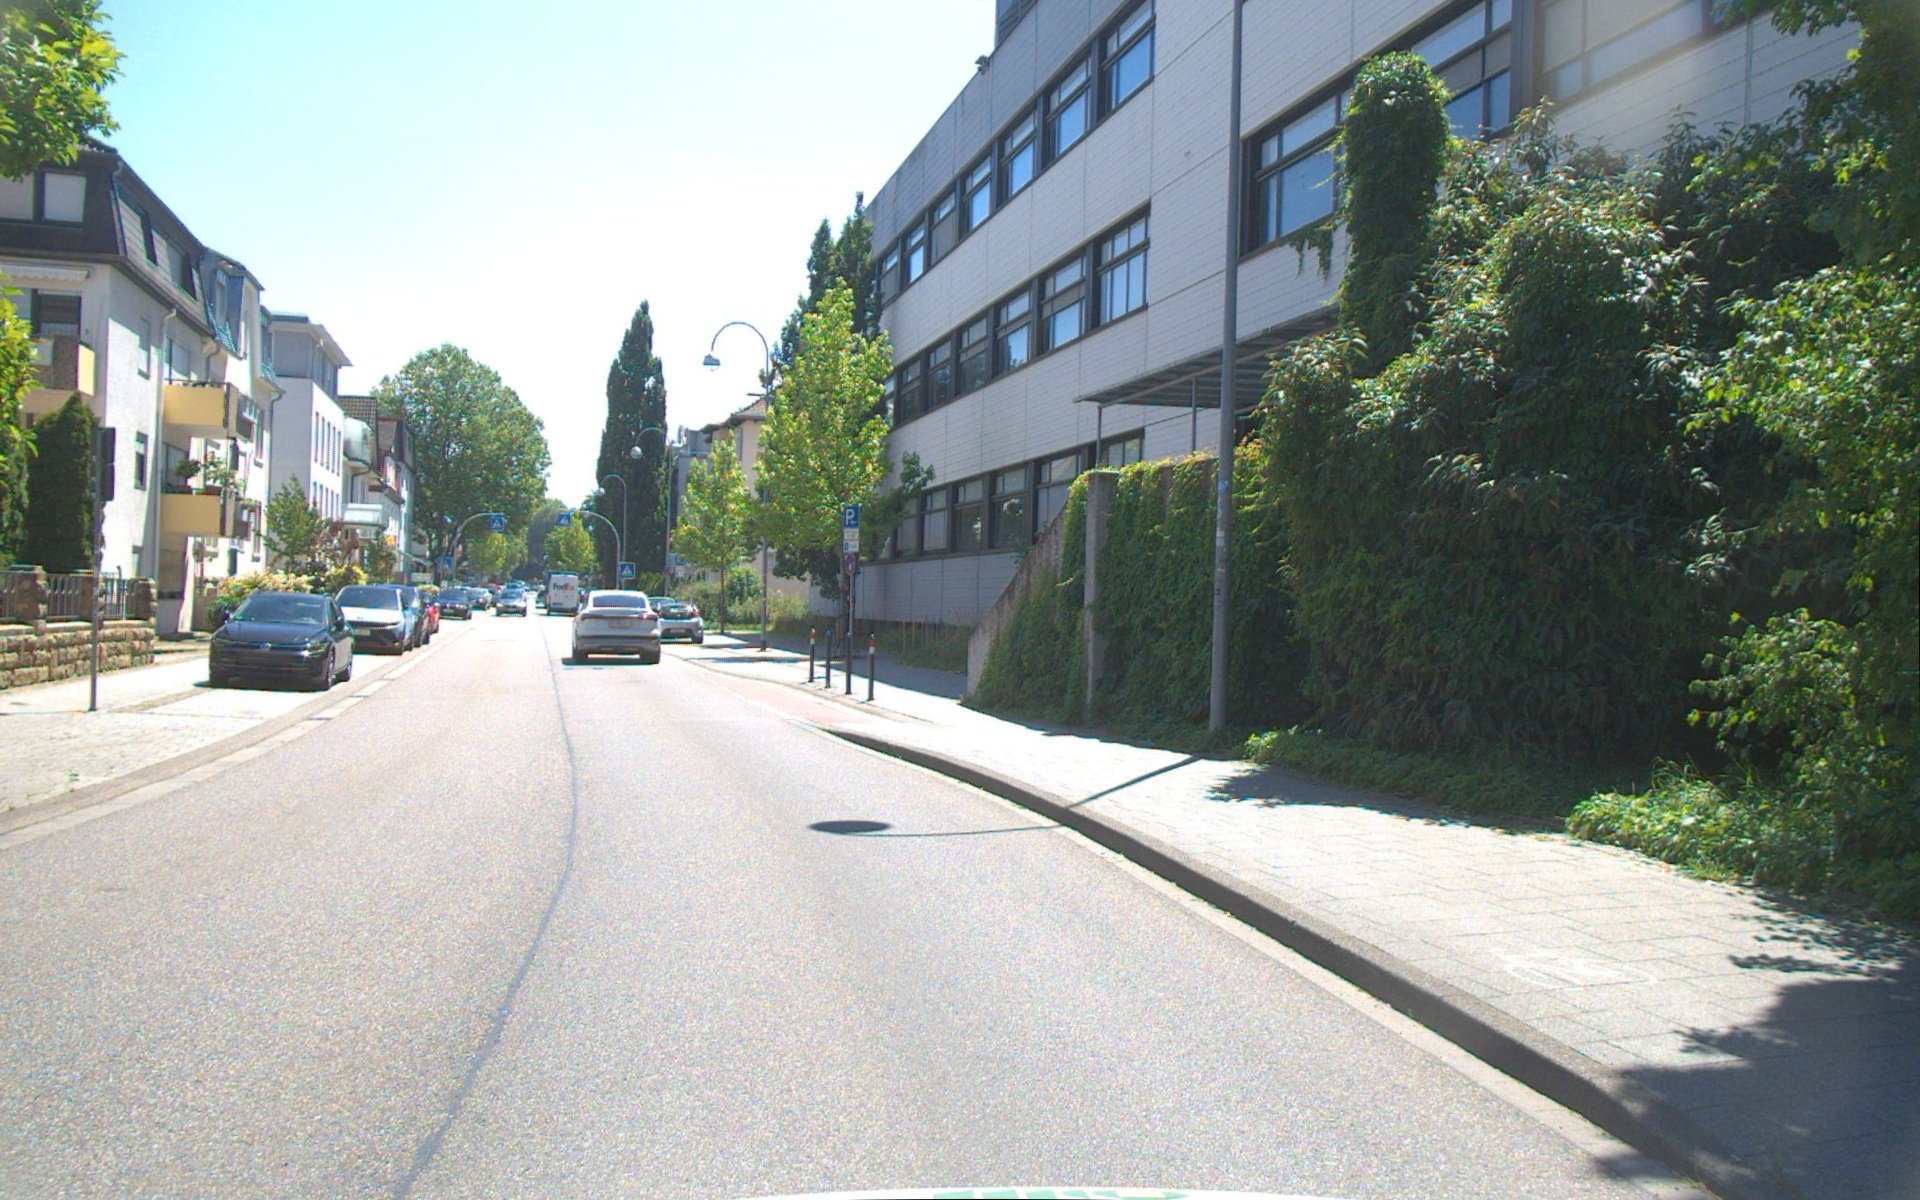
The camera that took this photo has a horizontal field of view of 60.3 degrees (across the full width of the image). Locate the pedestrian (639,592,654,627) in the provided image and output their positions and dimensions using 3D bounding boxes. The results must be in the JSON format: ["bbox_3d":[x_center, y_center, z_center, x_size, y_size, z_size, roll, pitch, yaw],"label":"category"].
[{"bbox_3d":[-16.020,0.471,84.445,0.628,1.789,0.613,1,0,-19],"label":"pedestrian"}]

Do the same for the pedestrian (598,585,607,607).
[{"bbox_3d":[-29.400,-0.302,135.978,0.683,1.767,0.664,1,0,-19],"label":"pedestrian"}]

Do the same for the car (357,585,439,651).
[{"bbox_3d":[-15.852,0.477,46.829,1.696,1.647,4.554,4,-1,-14],"label":"car"}]

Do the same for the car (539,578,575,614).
[{"bbox_3d":[-25.964,-0.262,106.458,2.036,2.235,5.115,-1,0,-16],"label":"car"}]

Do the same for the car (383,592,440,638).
[{"bbox_3d":[-19.000,0.506,57.422,1.623,1.444,3.888,4,-1,-16],"label":"car"}]

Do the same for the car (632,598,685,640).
[{"bbox_3d":[-11.421,0.679,62.477,1.631,1.514,4.328,0,0,-15],"label":"car"}]

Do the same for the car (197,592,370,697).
[{"bbox_3d":[-10.935,0.663,27.055,1.893,1.461,4.641,4,-1,-14],"label":"car"}]

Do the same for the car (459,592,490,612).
[{"bbox_3d":[-34.148,0.149,116.401,1.961,1.373,3.983,1,0,-16],"label":"car"}]

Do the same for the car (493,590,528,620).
[{"bbox_3d":[-26.803,0.282,98.598,1.942,1.700,4.452,1,0,-16],"label":"car"}]

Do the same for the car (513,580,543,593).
[{"bbox_3d":[-61.909,-1.933,237.285,3.912,1.680,1.996,1,0,-8],"label":"car"}]

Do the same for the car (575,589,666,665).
[{"bbox_3d":[-8.003,0.579,38.759,1.903,1.642,4.455,-1,0,-14],"label":"car"}]

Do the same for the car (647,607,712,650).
[{"bbox_3d":[-9.699,0.962,56.969,1.831,1.397,3.984,0,0,-15],"label":"car"}]

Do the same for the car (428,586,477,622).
[{"bbox_3d":[-25.641,0.200,83.642,1.892,1.750,4.459,1,0,-12],"label":"car"}]

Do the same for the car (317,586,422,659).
[{"bbox_3d":[-14.499,0.521,40.845,1.893,1.600,4.641,4,-1,-14],"label":"car"}]
